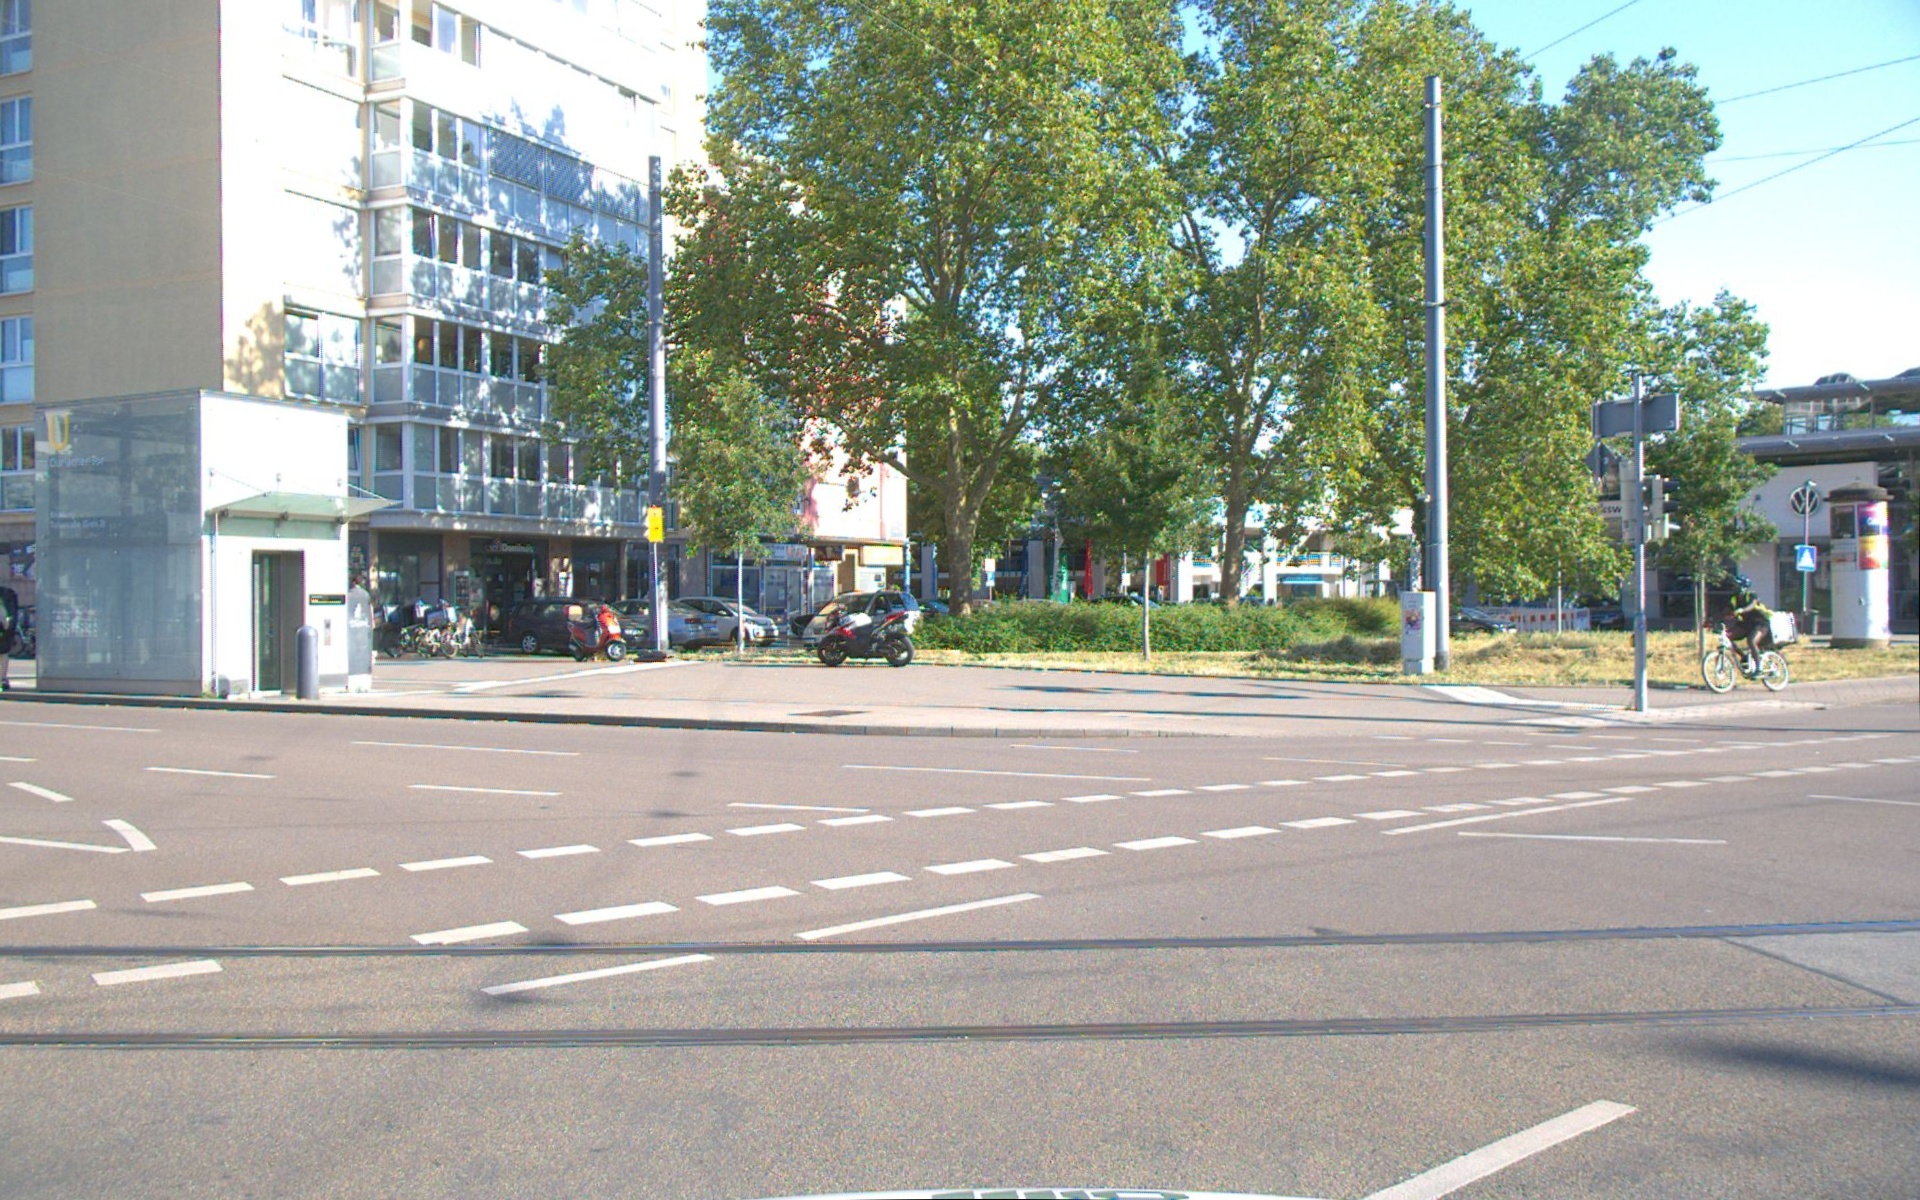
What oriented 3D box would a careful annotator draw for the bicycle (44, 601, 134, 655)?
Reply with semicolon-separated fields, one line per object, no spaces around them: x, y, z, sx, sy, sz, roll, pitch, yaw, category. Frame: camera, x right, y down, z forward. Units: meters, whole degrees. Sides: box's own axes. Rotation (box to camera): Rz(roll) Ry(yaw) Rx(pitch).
-21.188;0.673;40.232;2.245;1.270;0.659;-1;1;24;bicycle

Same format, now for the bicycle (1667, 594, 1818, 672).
12.519;0.497;26.441;2.500;1.142;1.022;0;3;-34;bicycle

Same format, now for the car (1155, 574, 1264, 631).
9.971;0.073;66.002;3.907;2.034;1.856;2;2;24;car

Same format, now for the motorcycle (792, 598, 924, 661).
-1.862;0.538;30.353;2.226;1.092;1.042;0;2;10;motorcycle

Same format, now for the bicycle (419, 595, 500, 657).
-11.904;0.599;39.395;0.796;1.369;1.999;-1;1;20;bicycle

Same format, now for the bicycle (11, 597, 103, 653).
-21.576;0.600;39.516;2.245;1.270;0.659;-1;1;24;bicycle

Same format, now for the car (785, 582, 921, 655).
-2.816;0.466;44.349;1.878;1.727;3.997;-3;0;25;car

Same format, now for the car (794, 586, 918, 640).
-3.623;0.423;57.708;3.909;1.663;1.855;3;2;26;car

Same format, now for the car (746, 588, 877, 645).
-4.928;0.515;54.714;3.909;1.663;1.855;3;2;26;car

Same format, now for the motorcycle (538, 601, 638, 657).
-7.520;0.587;33.437;1.762;1.064;0.881;-2;1;23;motorcycle

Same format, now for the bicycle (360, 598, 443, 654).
-13.567;0.611;40.234;0.796;1.270;1.999;-1;1;20;bicycle

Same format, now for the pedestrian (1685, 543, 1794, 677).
12.424;0.140;26.367;1.255;2.048;1.022;0;2;-33;pedestrian

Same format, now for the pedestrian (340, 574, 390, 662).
-12.102;0.353;33.655;0.747;1.758;0.687;-1;0;-43;pedestrian

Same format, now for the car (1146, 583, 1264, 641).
8.980;0.406;60.597;3.907;1.900;1.856;2;2;24;car

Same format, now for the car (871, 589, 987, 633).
-1.172;0.393;61.797;3.909;1.444;1.855;3;2;26;car

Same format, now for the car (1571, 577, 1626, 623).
27.537;-0.043;71.408;1.756;1.535;4.006;2;6;15;car

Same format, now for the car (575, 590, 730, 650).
-8.584;0.527;46.104;3.909;1.444;1.855;3;2;26;car

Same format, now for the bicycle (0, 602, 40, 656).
-24.065;0.702;40.633;2.990;1.286;0.987;-1;0;24;bicycle

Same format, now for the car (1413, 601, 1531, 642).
20.071;0.807;64.929;1.740;1.360;4.103;-1;3;-43;car

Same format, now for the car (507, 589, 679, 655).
-9.692;0.546;43.700;4.128;1.508;1.856;2;2;23;car

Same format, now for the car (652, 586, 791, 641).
-7.395;0.390;51.240;3.909;1.444;1.855;3;2;26;car

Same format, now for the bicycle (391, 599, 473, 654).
-12.718;0.633;39.892;0.796;1.221;1.999;-1;1;20;bicycle

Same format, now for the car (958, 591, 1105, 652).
1.977;0.603;45.081;3.903;1.537;1.801;-1;-2;5;car

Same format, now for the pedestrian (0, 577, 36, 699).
-14.177;0.546;24.229;0.850;1.758;0.794;-1;0;-6;pedestrian
